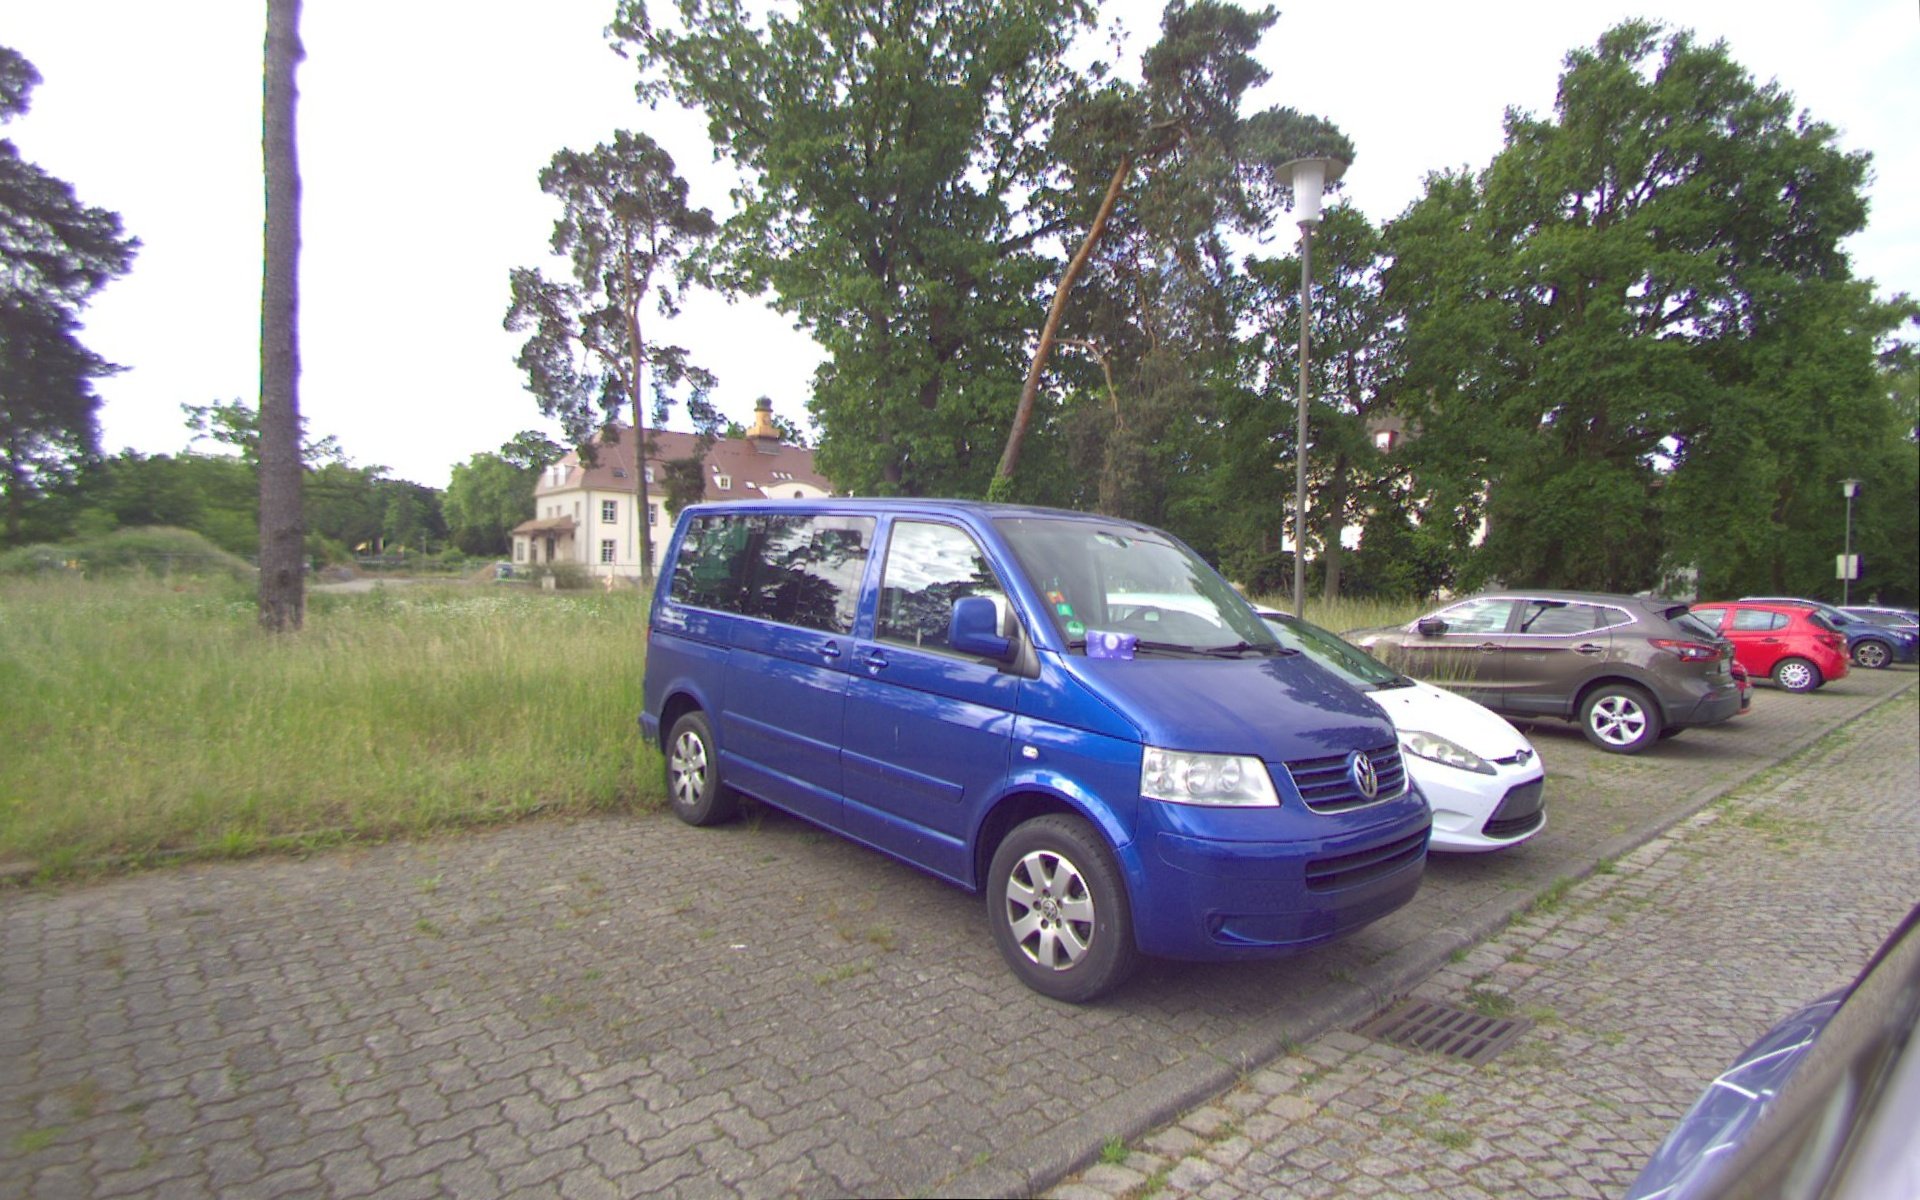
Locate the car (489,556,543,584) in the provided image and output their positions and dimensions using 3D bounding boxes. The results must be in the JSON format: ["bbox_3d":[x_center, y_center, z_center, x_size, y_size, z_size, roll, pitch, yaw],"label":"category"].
[{"bbox_3d":[-40.087,-2.733,91.291,5.846,2.269,2.283,4,3,42],"label":"car"}]

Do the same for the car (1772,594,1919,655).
[{"bbox_3d":[24.961,0.655,27.836,1.556,1.443,3.874,0,3,-43],"label":"car"}]

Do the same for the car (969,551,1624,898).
[{"bbox_3d":[2.076,0.555,7.059,1.810,1.489,3.870,0,5,-43],"label":"car"}]

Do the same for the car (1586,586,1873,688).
[{"bbox_3d":[13.813,0.578,18.338,1.556,1.478,3.890,0,3,-43],"label":"car"}]

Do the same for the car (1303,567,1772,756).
[{"bbox_3d":[6.351,0.518,11.532,1.791,1.618,4.267,0,3,-43],"label":"car"}]

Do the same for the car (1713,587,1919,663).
[{"bbox_3d":[21.350,0.562,25.010,1.556,1.557,4.146,0,3,-43],"label":"car"}]

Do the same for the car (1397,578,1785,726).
[{"bbox_3d":[8.218,0.555,13.467,1.735,1.504,4.015,0,3,-41],"label":"car"}]

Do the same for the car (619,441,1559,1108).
[{"bbox_3d":[0.166,0.374,5.419,1.969,1.969,4.815,0,3,-43],"label":"car"}]
